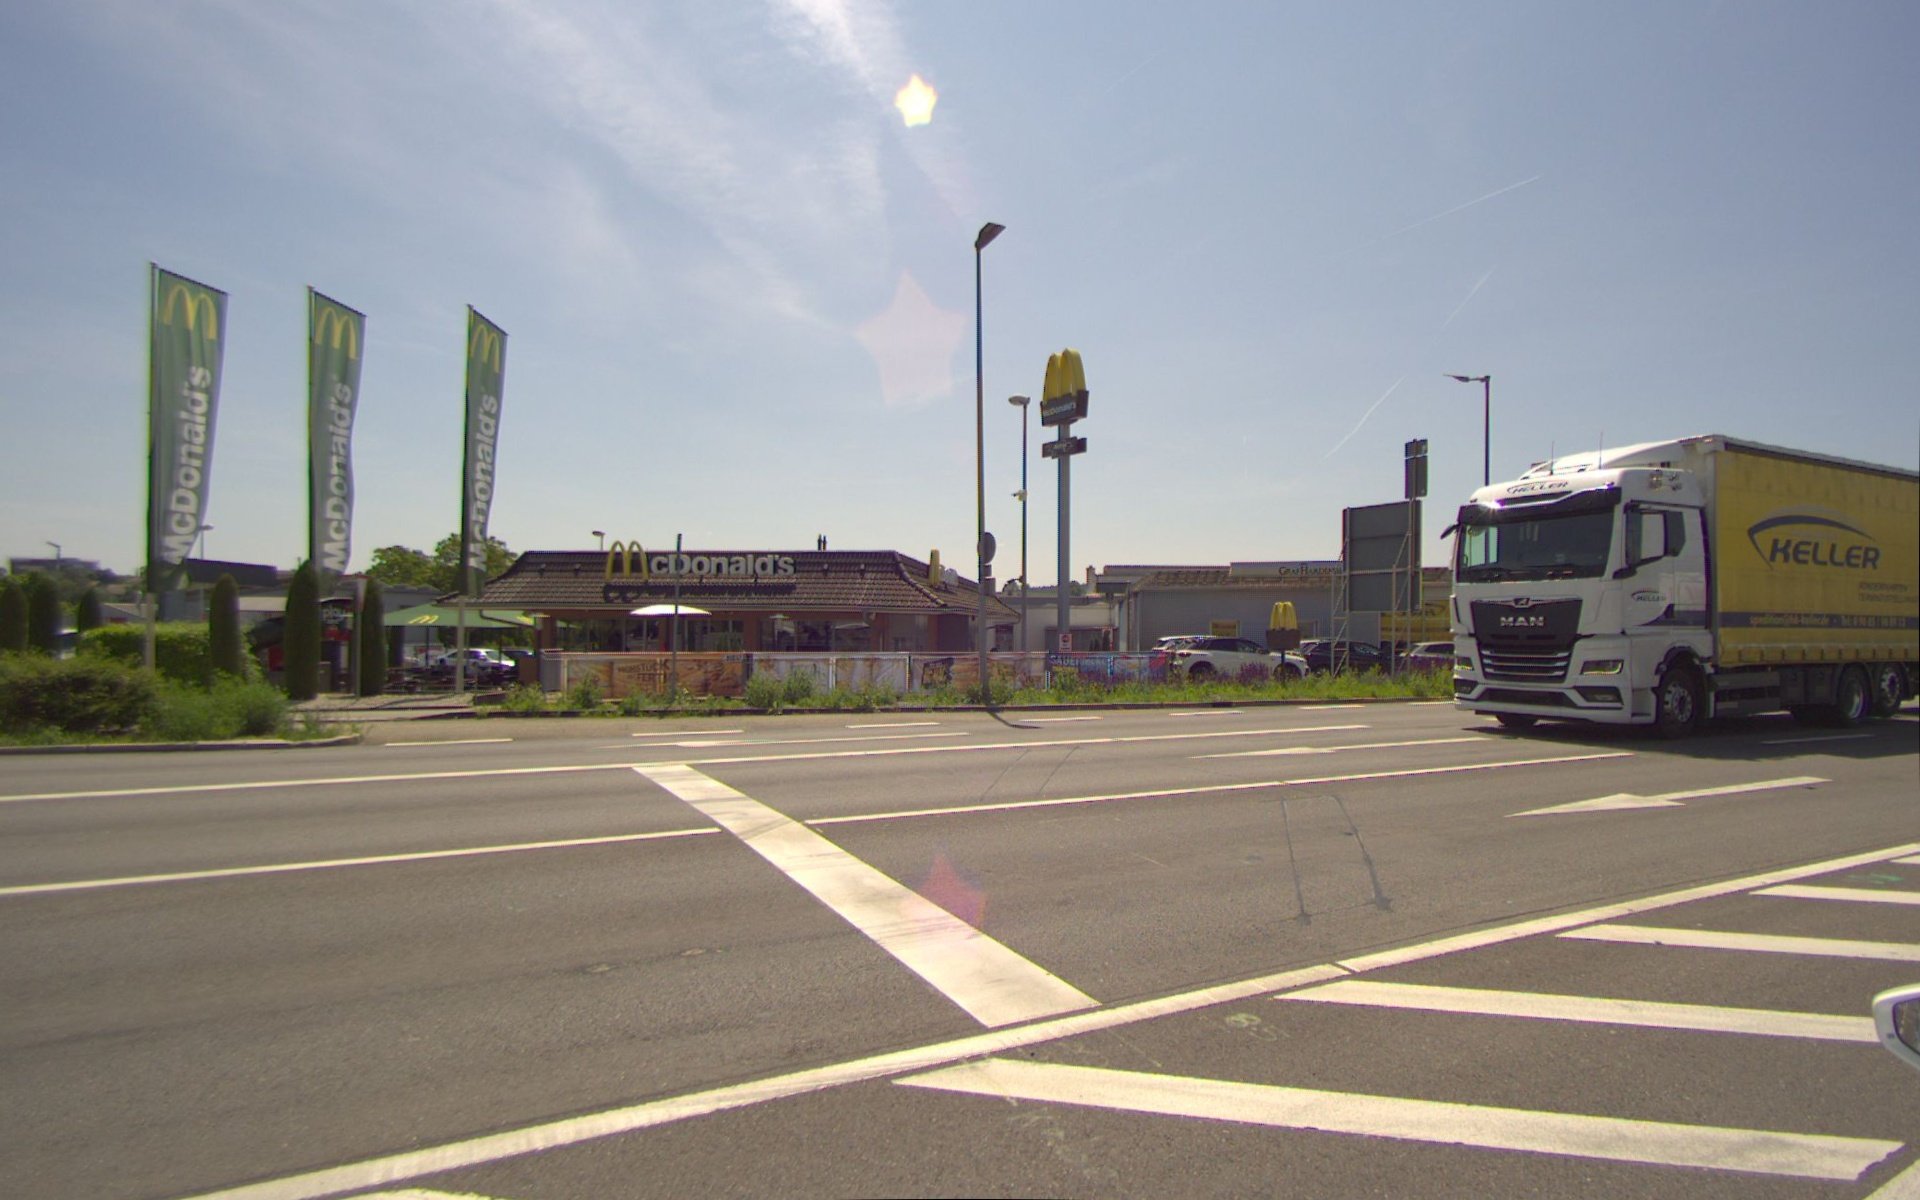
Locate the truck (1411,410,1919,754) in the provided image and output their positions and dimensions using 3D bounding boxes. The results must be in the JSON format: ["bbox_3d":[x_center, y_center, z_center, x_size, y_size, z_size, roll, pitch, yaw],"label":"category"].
[{"bbox_3d":[11.860,-0.077,15.925,10.225,4.159,3.017,1,-1,-28],"label":"truck"}]

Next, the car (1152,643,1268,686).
[{"bbox_3d":[9.275,2.388,37.570,3.920,1.483,2.001,1,-1,3],"label":"car"}]

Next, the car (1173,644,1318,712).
[{"bbox_3d":[8.950,2.440,31.849,4.154,2.040,2.002,0,-3,8],"label":"car"}]

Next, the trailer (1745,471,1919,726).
[{"bbox_3d":[20.226,0.110,20.378,9.931,4.343,3.000,1,-1,-28],"label":"trailer"}]

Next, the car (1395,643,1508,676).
[{"bbox_3d":[17.471,2.113,35.831,3.301,1.082,1.564,1,-1,7],"label":"car"}]

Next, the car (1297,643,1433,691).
[{"bbox_3d":[13.512,2.217,33.695,3.919,1.483,1.758,0,-1,8],"label":"car"}]

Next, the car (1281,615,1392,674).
[{"bbox_3d":[13.504,1.580,36.194,3.429,2.040,1.713,1,-1,6],"label":"car"}]
